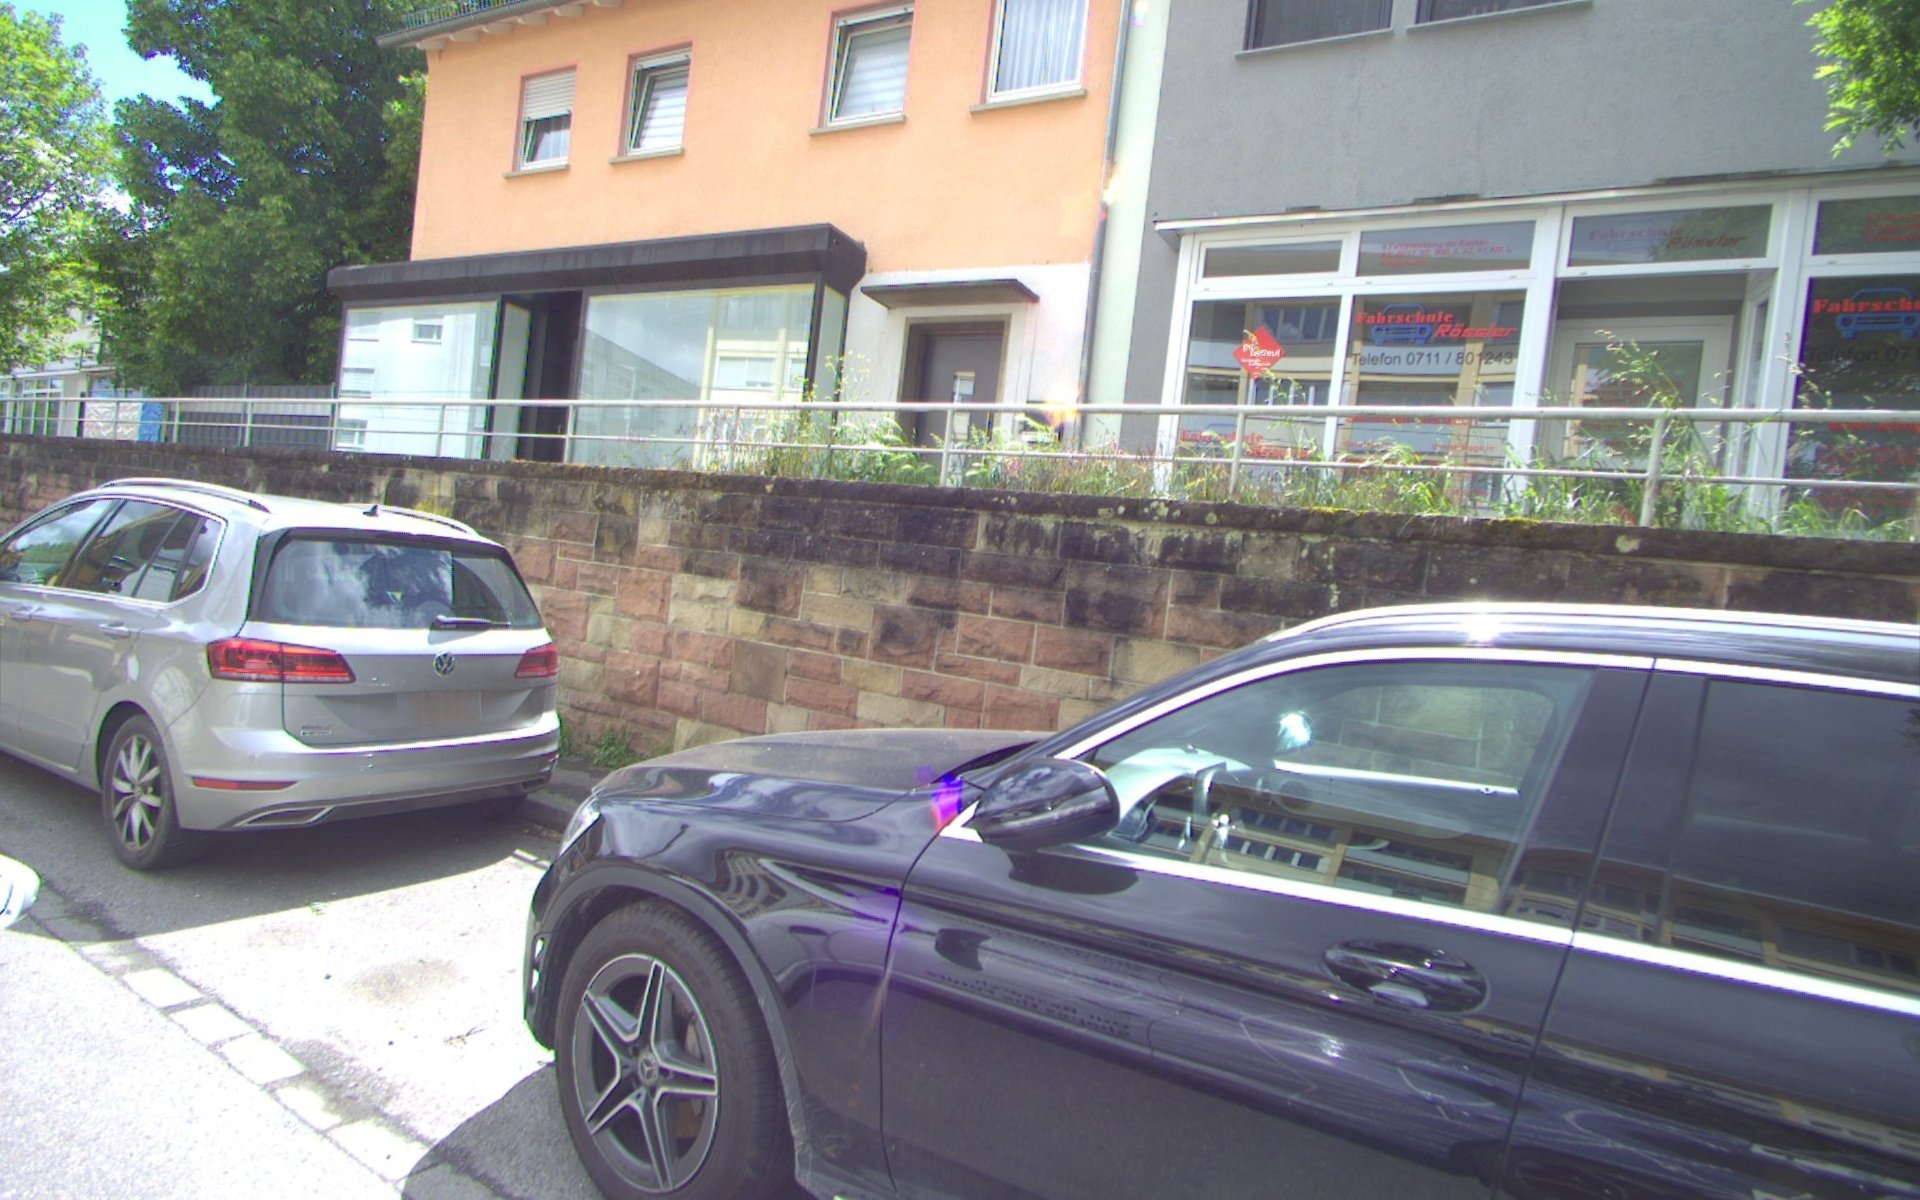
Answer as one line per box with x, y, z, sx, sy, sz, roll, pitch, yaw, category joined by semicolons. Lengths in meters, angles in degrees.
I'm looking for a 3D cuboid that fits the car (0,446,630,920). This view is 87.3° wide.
-3.987;0.157;5.424;4.177;1.638;1.791;7;1;31;car

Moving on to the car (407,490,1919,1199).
0.919;0.795;2.291;4.373;1.639;1.791;7;2;31;car
